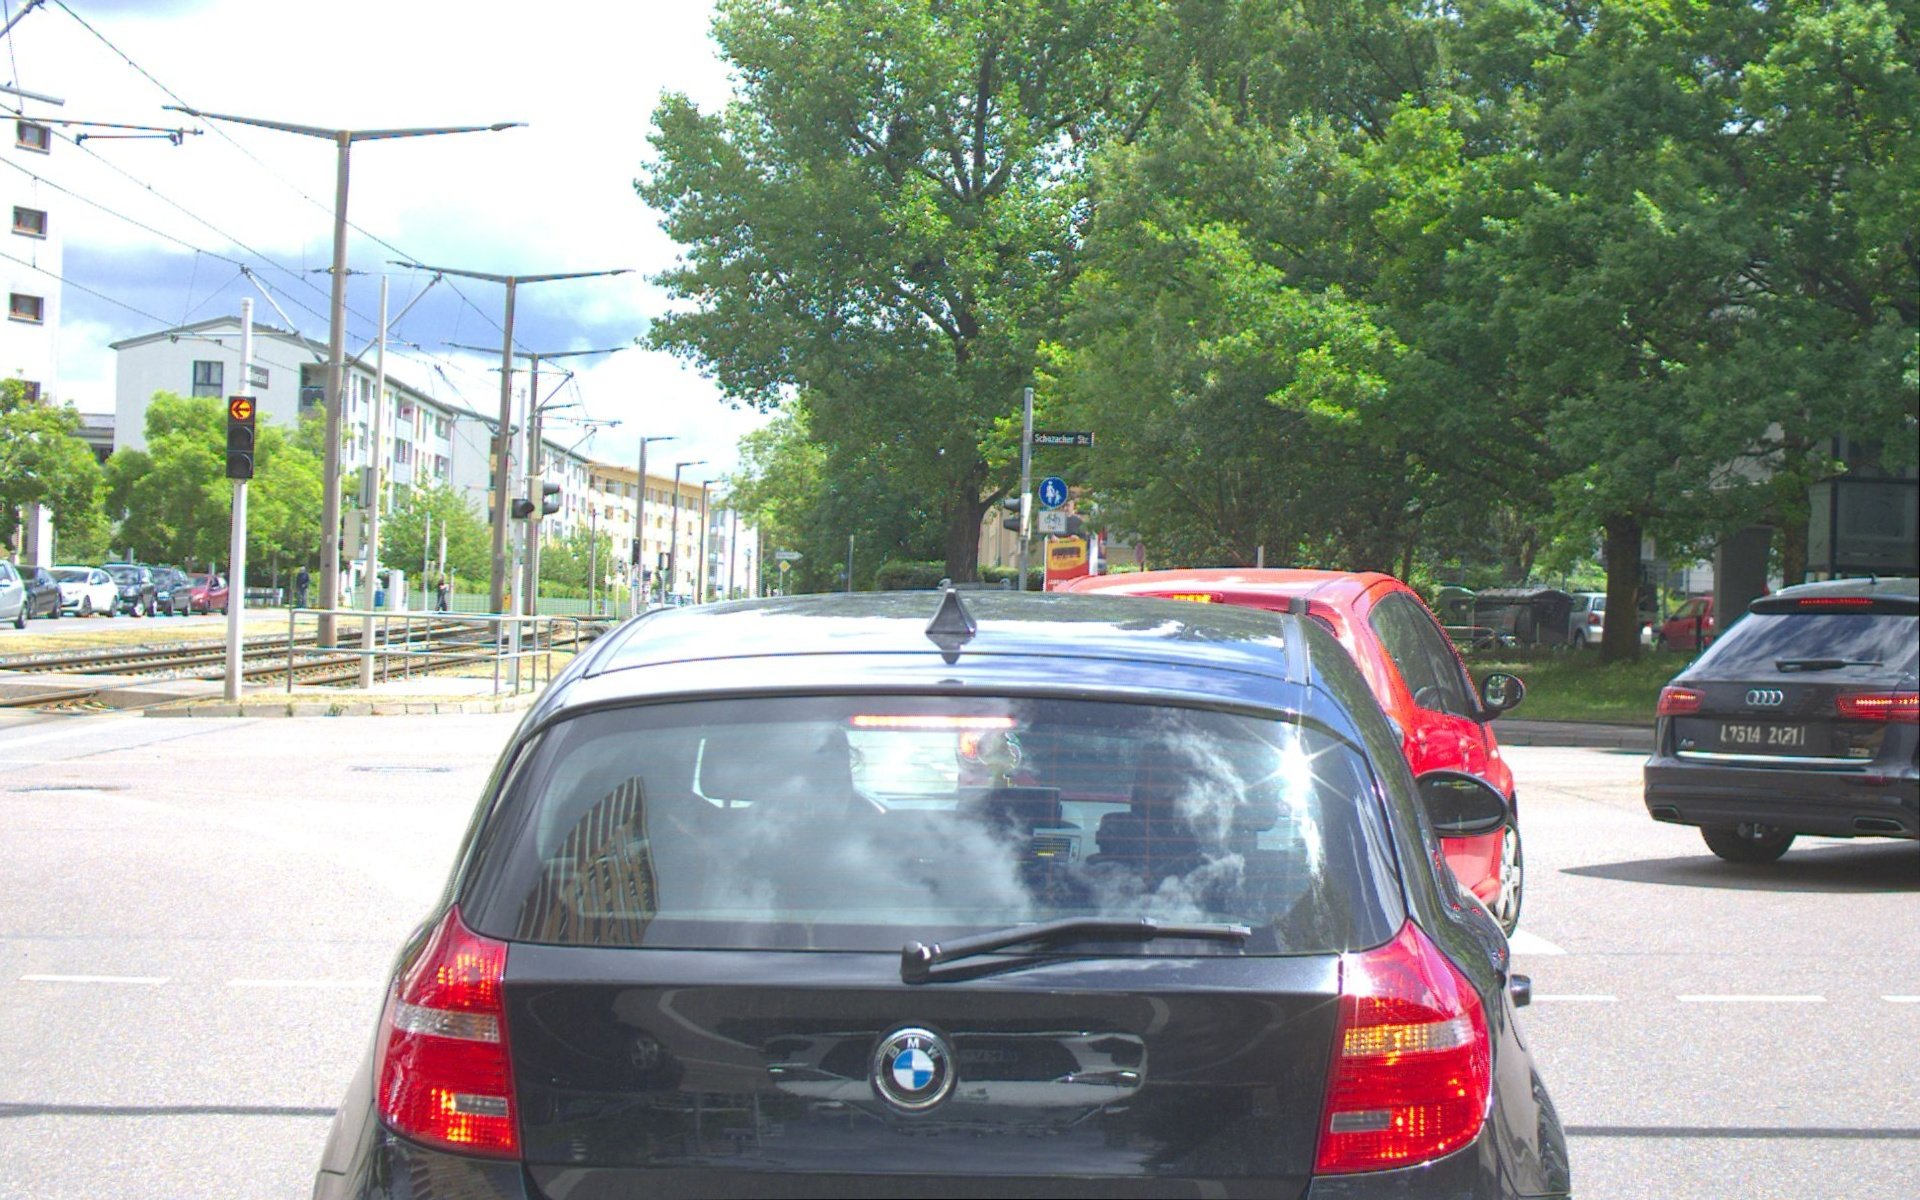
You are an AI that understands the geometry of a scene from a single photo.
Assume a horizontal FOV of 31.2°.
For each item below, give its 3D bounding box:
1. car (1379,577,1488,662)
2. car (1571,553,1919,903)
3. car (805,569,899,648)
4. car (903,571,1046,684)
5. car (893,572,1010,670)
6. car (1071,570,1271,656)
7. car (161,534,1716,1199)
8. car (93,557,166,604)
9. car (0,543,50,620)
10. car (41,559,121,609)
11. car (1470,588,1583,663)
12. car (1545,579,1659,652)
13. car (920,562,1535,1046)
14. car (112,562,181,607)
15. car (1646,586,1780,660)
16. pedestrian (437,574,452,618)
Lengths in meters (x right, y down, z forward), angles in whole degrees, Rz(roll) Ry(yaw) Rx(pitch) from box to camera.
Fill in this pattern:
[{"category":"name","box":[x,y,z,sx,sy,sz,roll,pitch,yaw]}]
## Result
[{"category":"car","box":[10.540,0.409,76.755,1.630,1.804,4.033,1,1,-3]},{"category":"car","box":[5.382,0.569,17.439,4.508,1.548,1.999,0,0,-38]},{"category":"car","box":[-2.394,0.166,77.061,1.993,1.678,4.000,1,1,0]},{"category":"car","box":[0.208,0.420,54.219,2.152,1.678,4.000,1,0,0]},{"category":"car","box":[-0.162,0.372,61.668,1.993,1.678,4.000,1,0,0]},{"category":"car","box":[4.639,0.283,75.725,3.986,1.817,1.779,1,1,-22]},{"category":"car","box":[-0.048,0.649,5.912,1.752,1.482,4.000,1,1,0]},{"category":"car","box":[-25.979,-0.630,107.596,1.760,1.390,4.001,1,1,-7]},{"category":"car","box":[-21.907,-0.441,77.187,1.937,1.687,3.873,1,1,0]},{"category":"car","box":[-25.815,-0.475,101.018,1.760,1.390,4.001,1,1,-7]},{"category":"car","box":[12.752,0.554,77.562,1.630,1.567,4.033,1,1,-3]},{"category":"car","box":[14.723,0.338,78.996,1.630,1.589,4.001,1,1,-3]},{"category":"car","box":[1.066,0.603,12.200,1.543,1.436,3.193,1,1,16]},{"category":"car","box":[-26.521,-0.514,112.164,1.760,1.390,4.001,1,1,-7]},{"category":"car","box":[17.342,0.503,79.372,1.730,1.589,4.001,1,1,-8]},{"category":"pedestrian","box":[-19.351,-0.140,129.040,0.478,1.631,0.454,1,1,-1]}]
